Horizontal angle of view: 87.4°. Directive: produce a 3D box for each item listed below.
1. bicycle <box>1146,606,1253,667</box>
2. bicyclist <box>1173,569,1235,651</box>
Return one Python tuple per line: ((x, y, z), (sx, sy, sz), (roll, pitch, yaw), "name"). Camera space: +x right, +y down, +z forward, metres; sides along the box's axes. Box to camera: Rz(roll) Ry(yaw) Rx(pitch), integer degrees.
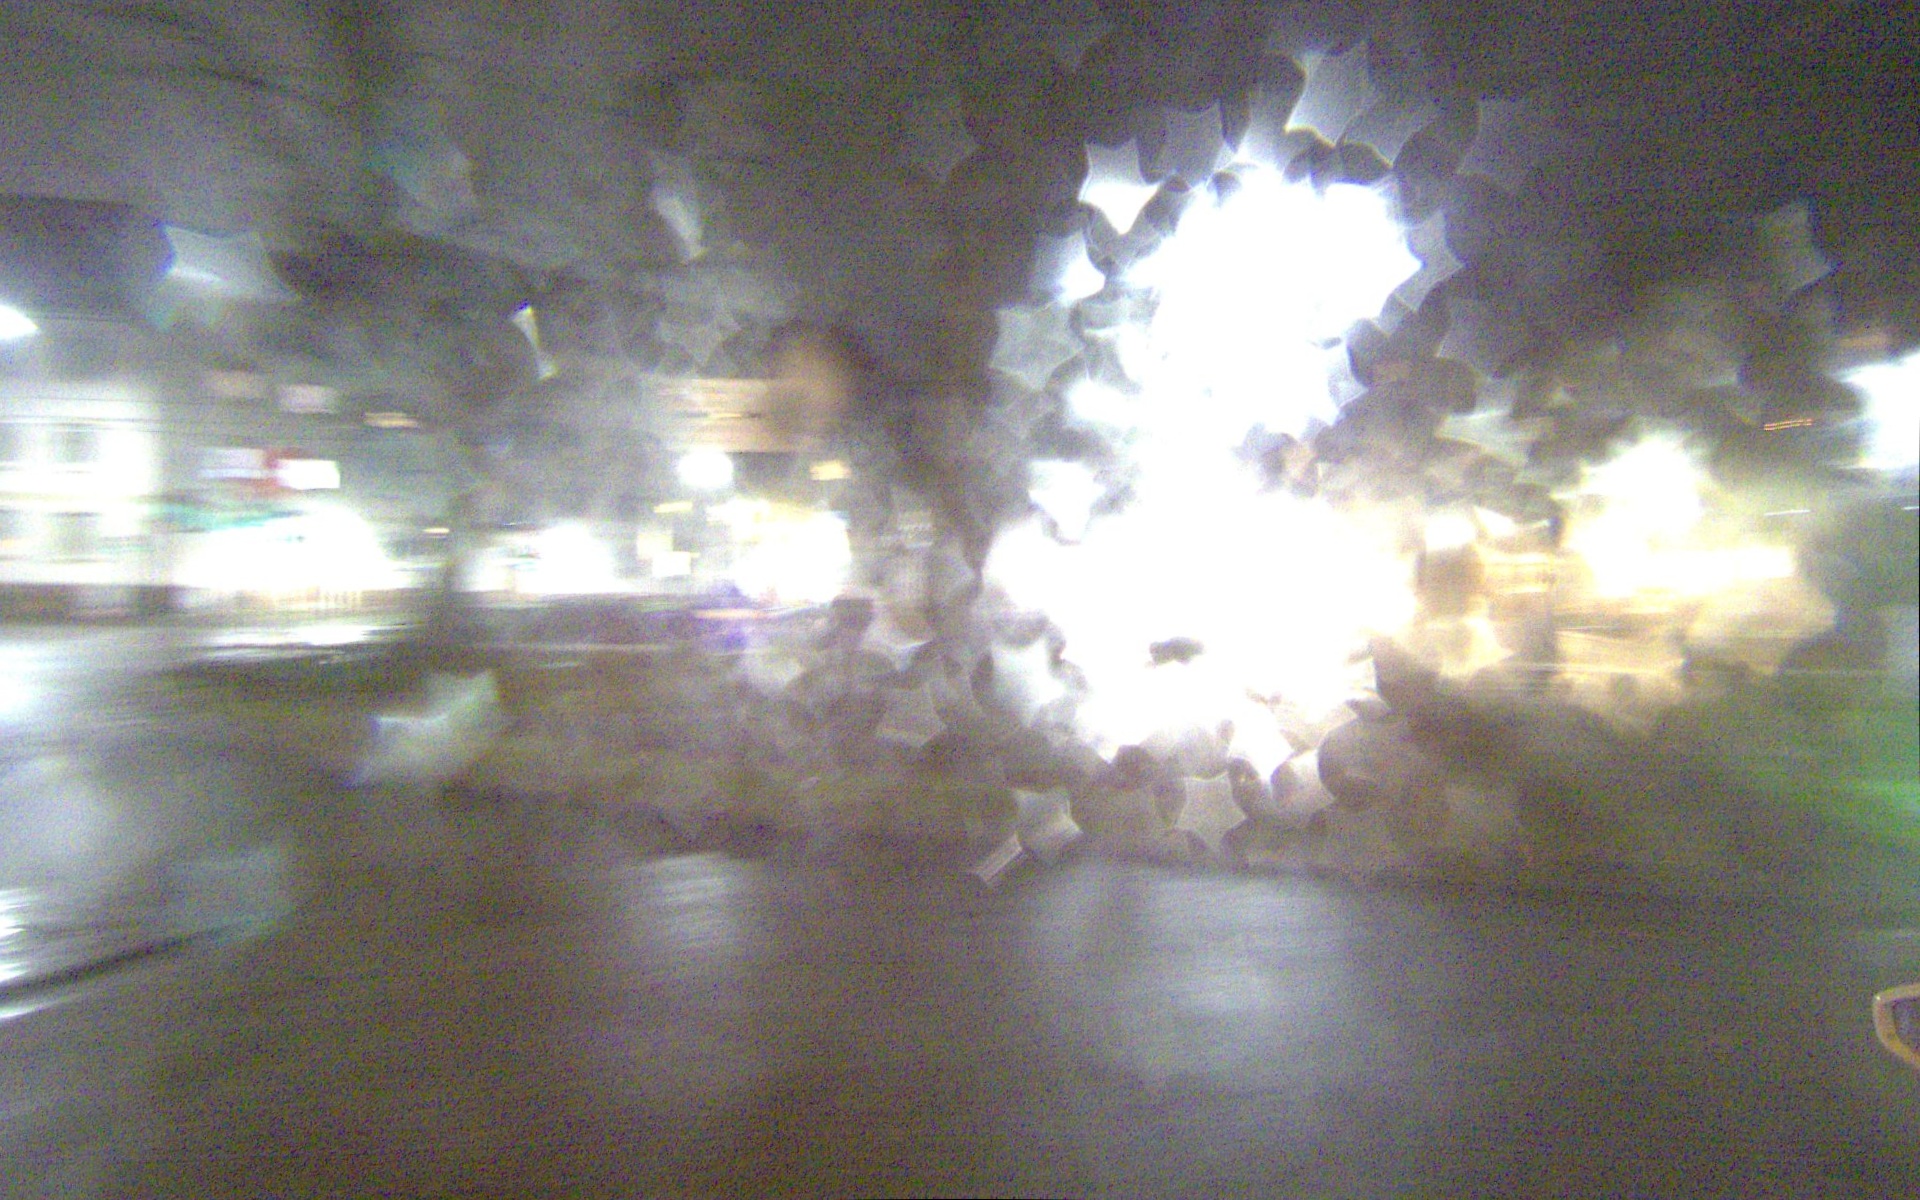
((4.283, 0.651, 18.009), (1.752, 0.944, 0.499), (4, 1, -8), "bicycle")
((4.364, 0.171, 18.010), (0.878, 1.398, 0.504), (4, 1, -8), "bicyclist")
